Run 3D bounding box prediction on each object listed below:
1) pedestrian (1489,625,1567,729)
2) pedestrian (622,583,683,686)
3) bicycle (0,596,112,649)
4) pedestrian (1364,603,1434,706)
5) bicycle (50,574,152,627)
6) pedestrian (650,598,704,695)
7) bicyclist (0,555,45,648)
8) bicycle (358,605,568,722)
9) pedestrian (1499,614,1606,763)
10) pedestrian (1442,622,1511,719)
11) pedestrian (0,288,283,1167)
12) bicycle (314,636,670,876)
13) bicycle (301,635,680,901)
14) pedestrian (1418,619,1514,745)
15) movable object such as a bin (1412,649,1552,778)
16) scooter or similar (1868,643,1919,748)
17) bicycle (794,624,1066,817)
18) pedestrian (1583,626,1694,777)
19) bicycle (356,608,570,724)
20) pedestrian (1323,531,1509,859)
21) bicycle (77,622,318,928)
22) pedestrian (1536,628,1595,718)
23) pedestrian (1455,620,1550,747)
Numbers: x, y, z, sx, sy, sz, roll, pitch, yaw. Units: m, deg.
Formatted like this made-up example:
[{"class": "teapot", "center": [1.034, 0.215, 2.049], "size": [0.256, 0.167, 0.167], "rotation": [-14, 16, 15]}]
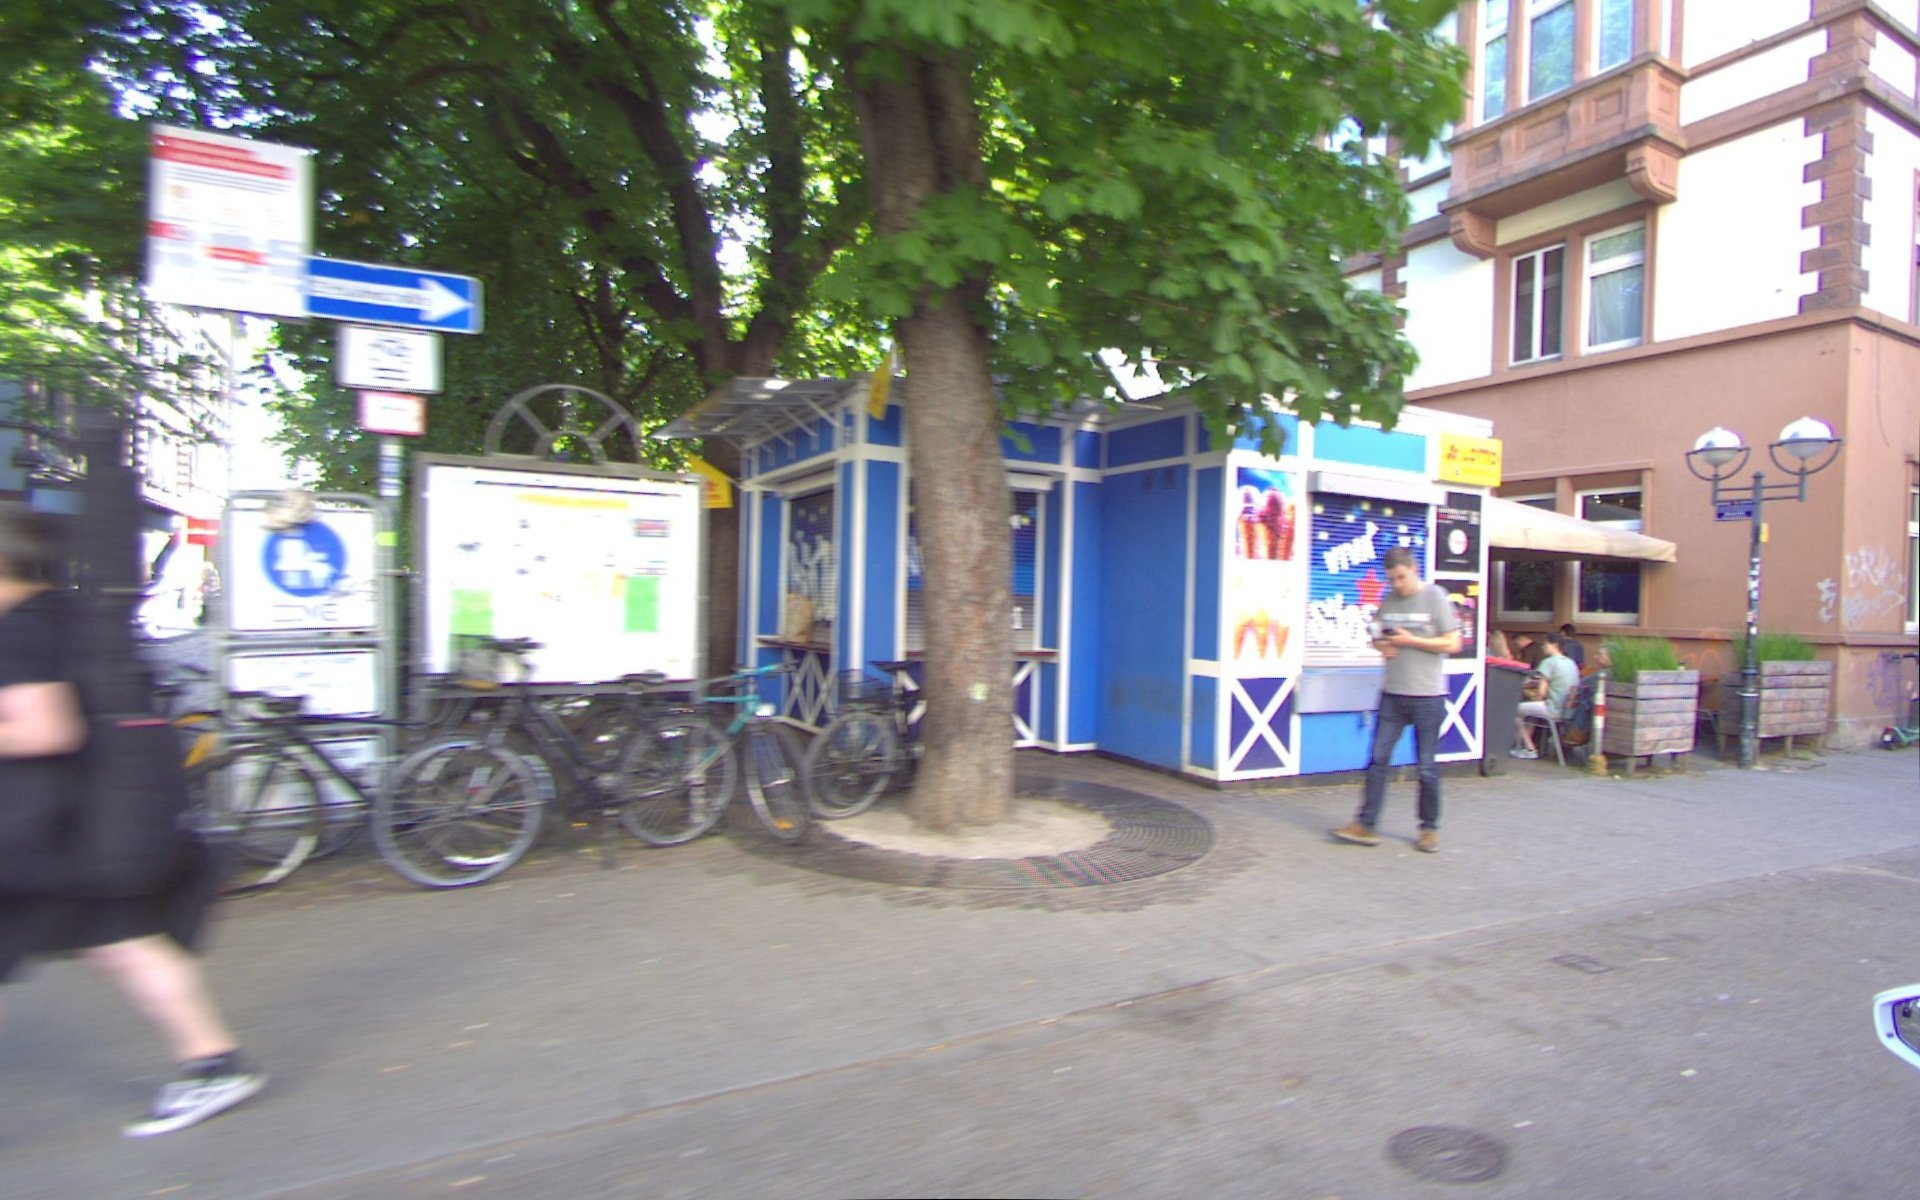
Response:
[{"class": "pedestrian", "center": [7.883, 1.042, 13.950], "size": [0.683, 1.379, 0.675], "rotation": [1, 0, -29]}, {"class": "pedestrian", "center": [-4.139, 0.464, 13.515], "size": [0.626, 1.338, 0.565], "rotation": [2, 1, -30]}, {"class": "bicycle", "center": [-18.796, 0.434, 20.370], "size": [0.479, 1.003, 2.767], "rotation": [3, 0, 10]}, {"class": "pedestrian", "center": [7.012, 0.853, 16.054], "size": [0.740, 1.583, 0.675], "rotation": [2, 0, -29]}, {"class": "bicycle", "center": [-22.293, 0.020, 26.109], "size": [1.905, 1.283, 0.520], "rotation": [3, 1, -30]}, {"class": "pedestrian", "center": [-4.023, 0.653, 14.265], "size": [0.590, 1.322, 0.541], "rotation": [2, 1, -30]}, {"class": "bicyclist", "center": [-18.635, 0.027, 19.786], "size": [0.494, 1.785, 0.683], "rotation": [3, 1, 10]}, {"class": "bicycle", "center": [-5.075, 0.621, 10.344], "size": [1.914, 1.106, 0.227], "rotation": [-1, 2, -30]}, {"class": "pedestrian", "center": [6.216, 0.908, 10.547], "size": [0.610, 1.464, 0.702], "rotation": [2, 1, -30]}, {"class": "pedestrian", "center": [7.669, 1.024, 14.918], "size": [0.683, 1.379, 0.615], "rotation": [1, 0, -29]}, {"class": "pedestrian", "center": [-2.191, 0.276, 2.501], "size": [0.711, 1.898, 0.713], "rotation": [2, 1, -29]}, {"class": "bicycle", "center": [-2.274, 0.718, 5.004], "size": [1.559, 1.060, 0.291], "rotation": [1, 2, -29]}, {"class": "bicycle", "center": [-2.143, 0.723, 4.716], "size": [1.559, 1.097, 0.291], "rotation": [1, 1, -29]}, {"class": "pedestrian", "center": [5.736, 0.911, 11.407], "size": [0.610, 1.348, 0.702], "rotation": [2, 1, -30]}, {"class": "movable object such as a bin", "center": [4.950, 1.049, 9.555], "size": [0.764, 1.101, 0.866], "rotation": [2, 1, -28]}, {"class": "scooter or similar", "center": [11.831, 1.179, 12.495], "size": [1.375, 1.233, 0.346], "rotation": [2, 1, -30]}, {"class": "bicycle", "center": [-0.142, 0.752, 6.956], "size": [2.023, 1.146, 0.492], "rotation": [1, 1, -43]}, {"class": "pedestrian", "center": [7.052, 1.033, 10.452], "size": [0.610, 1.464, 0.702], "rotation": [2, 1, -30]}, {"class": "bicycle", "center": [-4.965, 0.633, 10.128], "size": [1.914, 1.106, 0.227], "rotation": [0, 2, -30]}, {"class": "pedestrian", "center": [2.767, 0.540, 6.124], "size": [0.689, 1.858, 0.644], "rotation": [2, 2, -29]}, {"class": "bicycle", "center": [-3.412, 0.690, 4.619], "size": [0.341, 1.097, 1.572], "rotation": [2, 1, -18]}, {"class": "pedestrian", "center": [8.585, 1.036, 14.240], "size": [0.416, 1.202, 0.441], "rotation": [4, 3, -29]}, {"class": "pedestrian", "center": [6.347, 0.956, 11.762], "size": [0.610, 1.394, 0.702], "rotation": [2, 1, -30]}]
